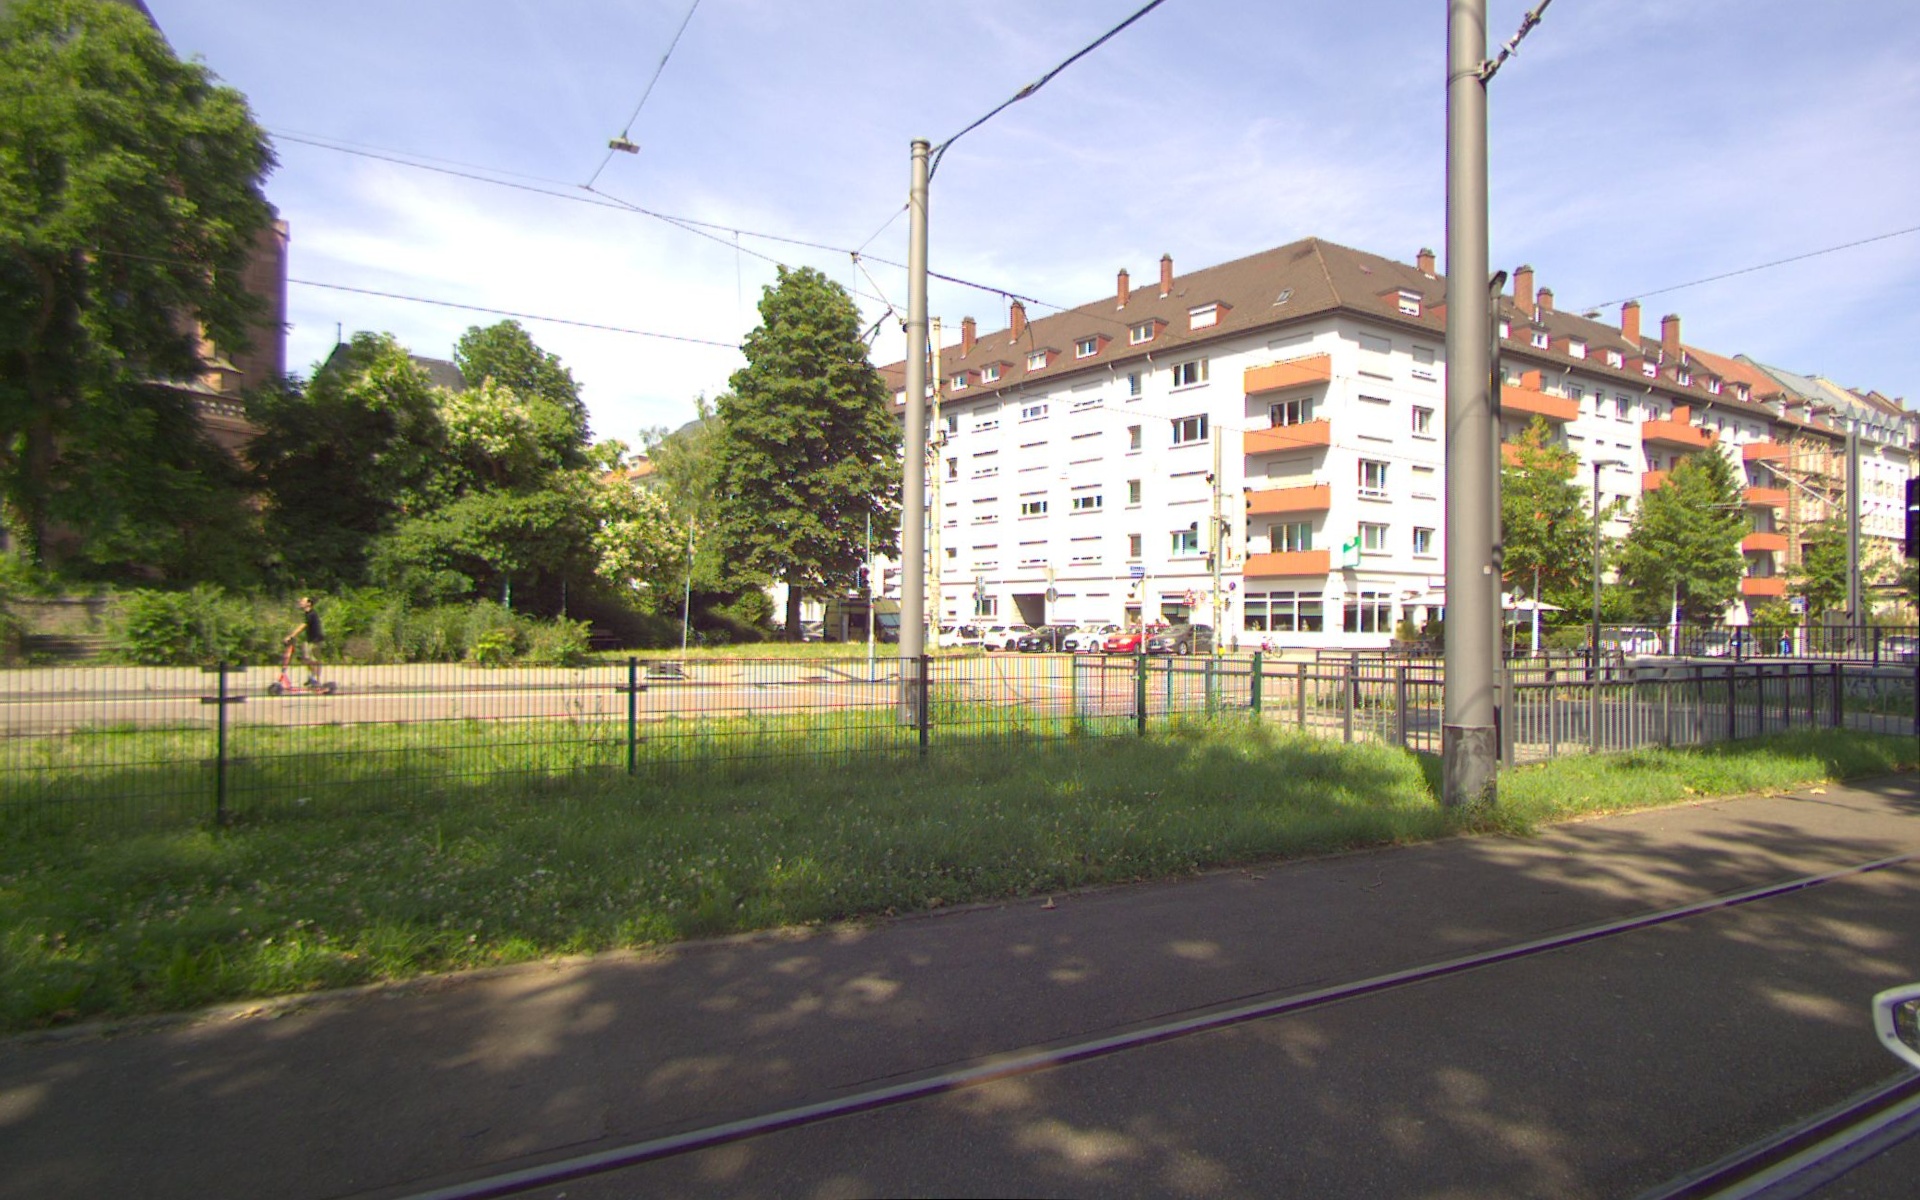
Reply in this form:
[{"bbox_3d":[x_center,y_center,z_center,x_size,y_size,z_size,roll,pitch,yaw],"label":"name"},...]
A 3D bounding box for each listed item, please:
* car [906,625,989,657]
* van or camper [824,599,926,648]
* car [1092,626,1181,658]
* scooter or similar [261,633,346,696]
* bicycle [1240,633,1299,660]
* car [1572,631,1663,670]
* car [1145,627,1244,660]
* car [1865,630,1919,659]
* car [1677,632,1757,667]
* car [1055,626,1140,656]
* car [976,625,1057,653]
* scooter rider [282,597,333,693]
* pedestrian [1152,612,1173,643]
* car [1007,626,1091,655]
[{"bbox_3d":[-0.612,1.911,47.122,3.702,1.425,1.823,-1,-2,44],"label":"car"},{"bbox_3d":[-4.436,1.178,51.515,2.228,2.360,5.704,1,-2,-42],"label":"van or camper"},{"bbox_3d":[8.449,1.974,47.872,4.129,1.425,1.918,1,-2,-38],"label":"car"},{"bbox_3d":[-13.106,1.287,20.095,1.249,1.220,0.655,1,-1,-15],"label":"scooter or similar"},{"bbox_3d":[13.376,1.994,43.411,2.779,1.152,0.905,1,-1,-34],"label":"bicycle"},{"bbox_3d":[26.509,2.023,40.449,3.961,1.518,1.759,1,-3,-36],"label":"car"},{"bbox_3d":[10.615,1.935,45.278,4.598,1.394,1.821,1,-2,-36],"label":"car"},{"bbox_3d":[51.994,2.451,55.831,3.961,1.518,1.758,1,-1,-36],"label":"car"},{"bbox_3d":[33.777,2.199,44.818,3.961,1.518,1.759,1,-3,-36],"label":"car"},{"bbox_3d":[6.907,2.020,50.189,4.129,1.425,1.918,1,-2,-38],"label":"car"},{"bbox_3d":[3.054,2.097,54.032,4.129,1.425,1.917,1,-1,-38],"label":"car"},{"bbox_3d":[-13.062,0.894,20.123,0.658,1.891,0.662,1,-1,-15],"label":"scooter rider"},{"bbox_3d":[10.363,1.405,51.499,0.846,1.593,0.688,0,-1,36],"label":"pedestrian"},{"bbox_3d":[4.618,2.084,51.753,4.129,1.425,1.917,2,-2,-38],"label":"car"}]
